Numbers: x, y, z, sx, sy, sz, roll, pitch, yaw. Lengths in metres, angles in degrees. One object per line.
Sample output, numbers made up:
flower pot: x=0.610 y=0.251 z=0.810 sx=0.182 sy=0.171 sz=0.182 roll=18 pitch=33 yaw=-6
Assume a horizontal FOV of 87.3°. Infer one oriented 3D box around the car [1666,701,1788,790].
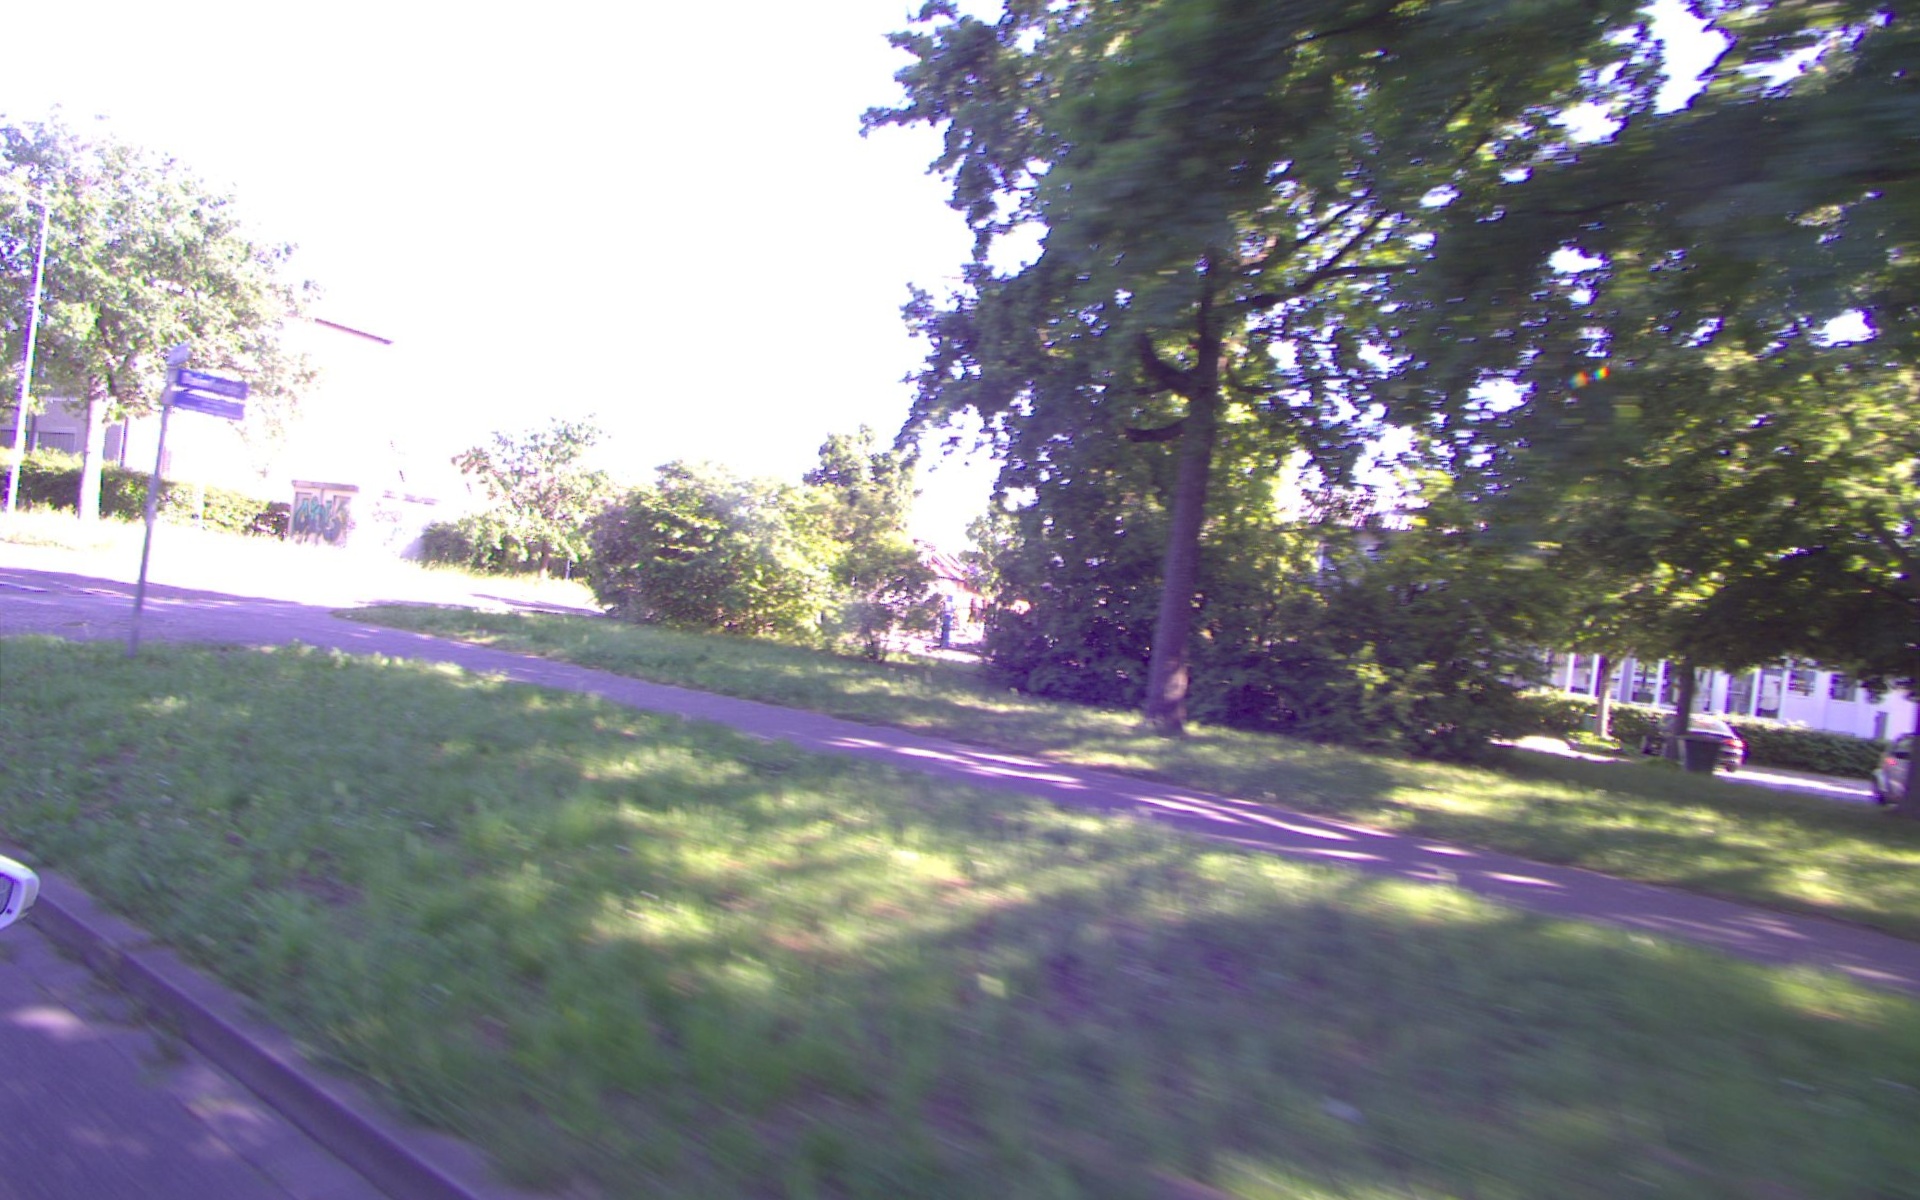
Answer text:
car: x=14.361 y=2.665 z=18.981 sx=1.403 sy=1.308 sz=3.405 roll=7 pitch=-1 yaw=32
